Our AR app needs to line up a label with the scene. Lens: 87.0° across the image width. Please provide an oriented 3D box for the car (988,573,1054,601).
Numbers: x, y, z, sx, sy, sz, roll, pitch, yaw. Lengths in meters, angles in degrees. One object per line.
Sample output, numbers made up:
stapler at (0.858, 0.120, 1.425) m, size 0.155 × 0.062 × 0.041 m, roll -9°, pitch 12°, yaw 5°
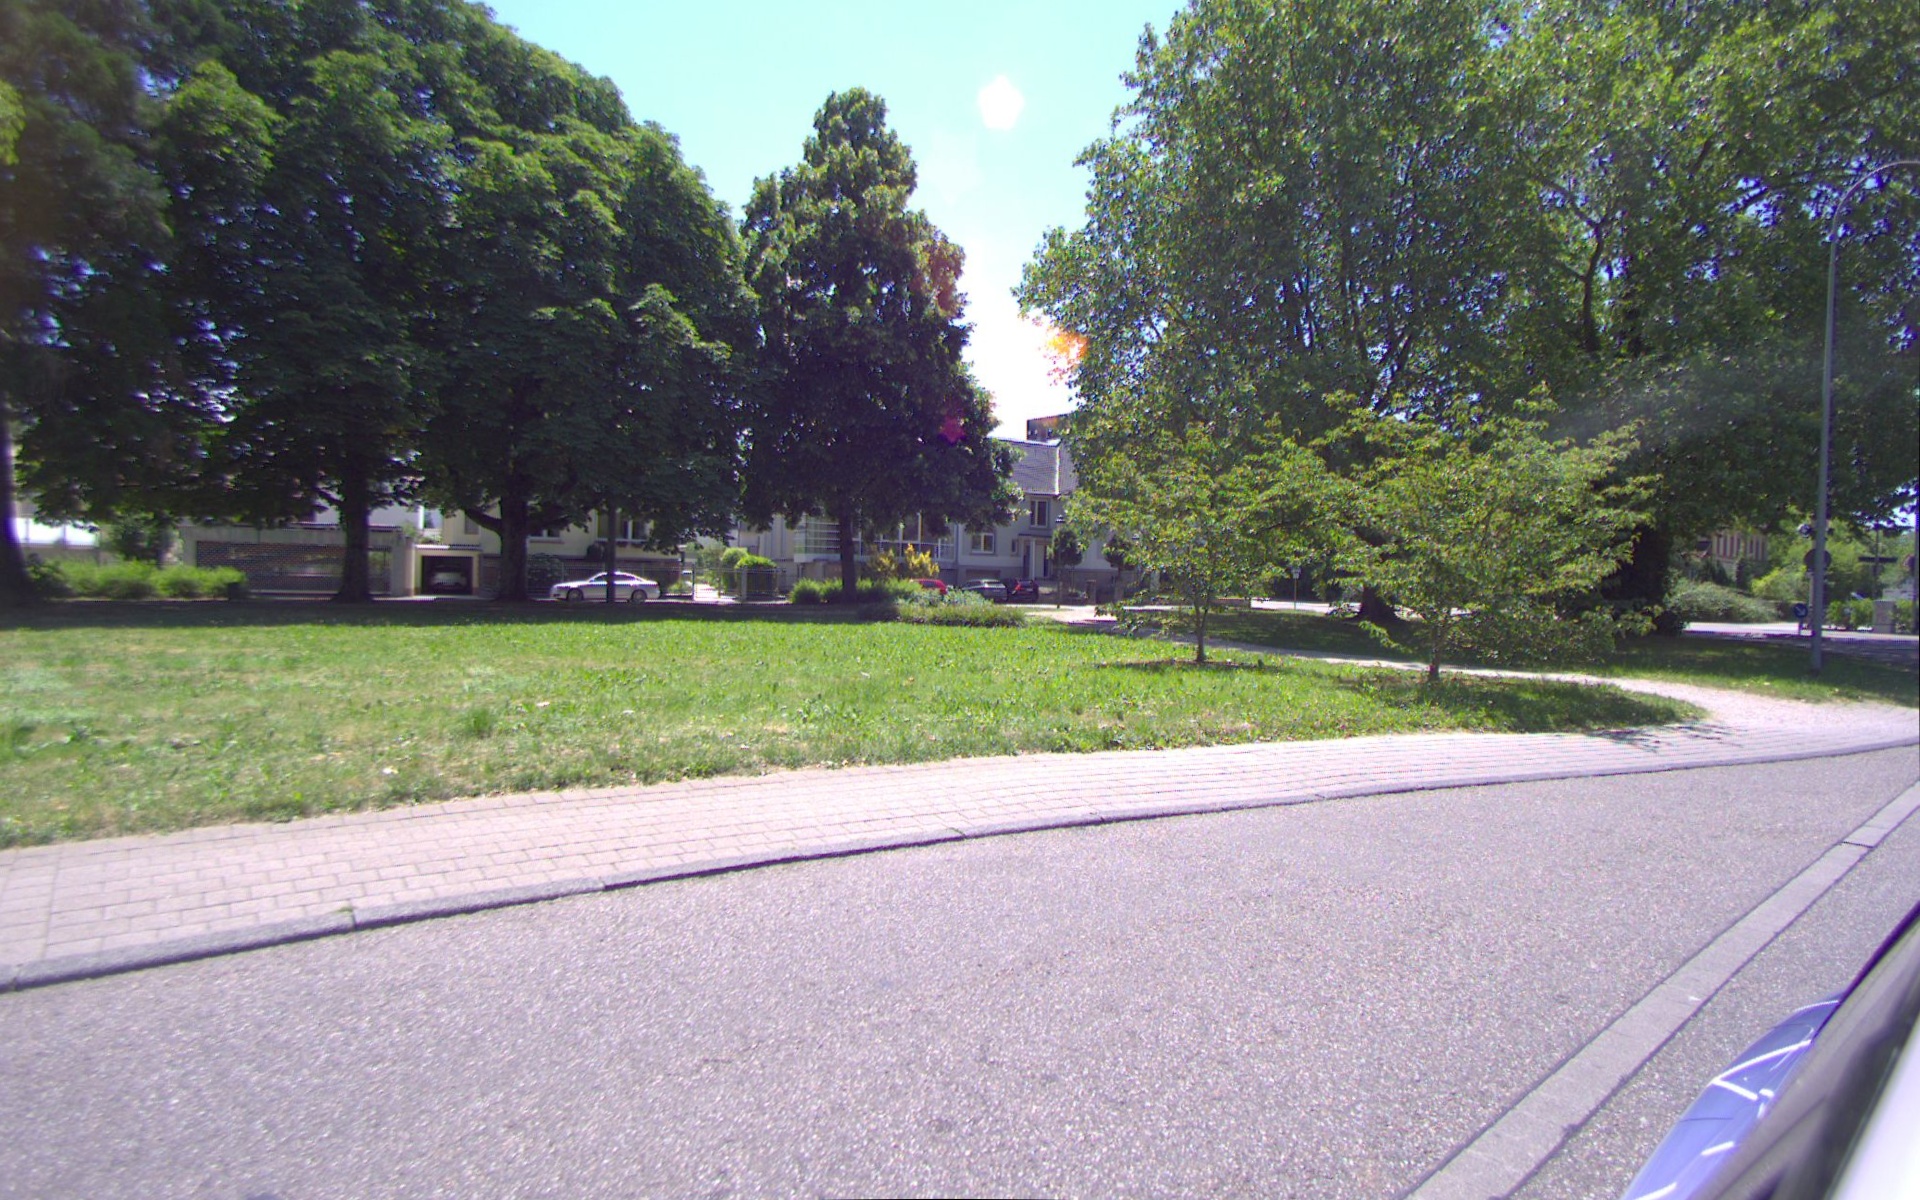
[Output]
car at (3.708, -0.783, 61.872) m, size 1.962 × 1.587 × 4.000 m, roll 0°, pitch 2°, yaw -36°

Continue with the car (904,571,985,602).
car at (-0.828, -0.722, 54.256) m, size 3.919 × 1.543 × 1.756 m, roll 1°, pitch 2°, yaw -29°

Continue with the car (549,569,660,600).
car at (-16.278, -0.727, 46.429) m, size 4.619 × 1.303 × 1.674 m, roll -1°, pitch 3°, yaw -28°

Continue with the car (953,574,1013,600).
car at (1.321, -0.808, 60.426) m, size 1.958 × 1.408 × 4.008 m, roll 1°, pitch 2°, yaw -25°
